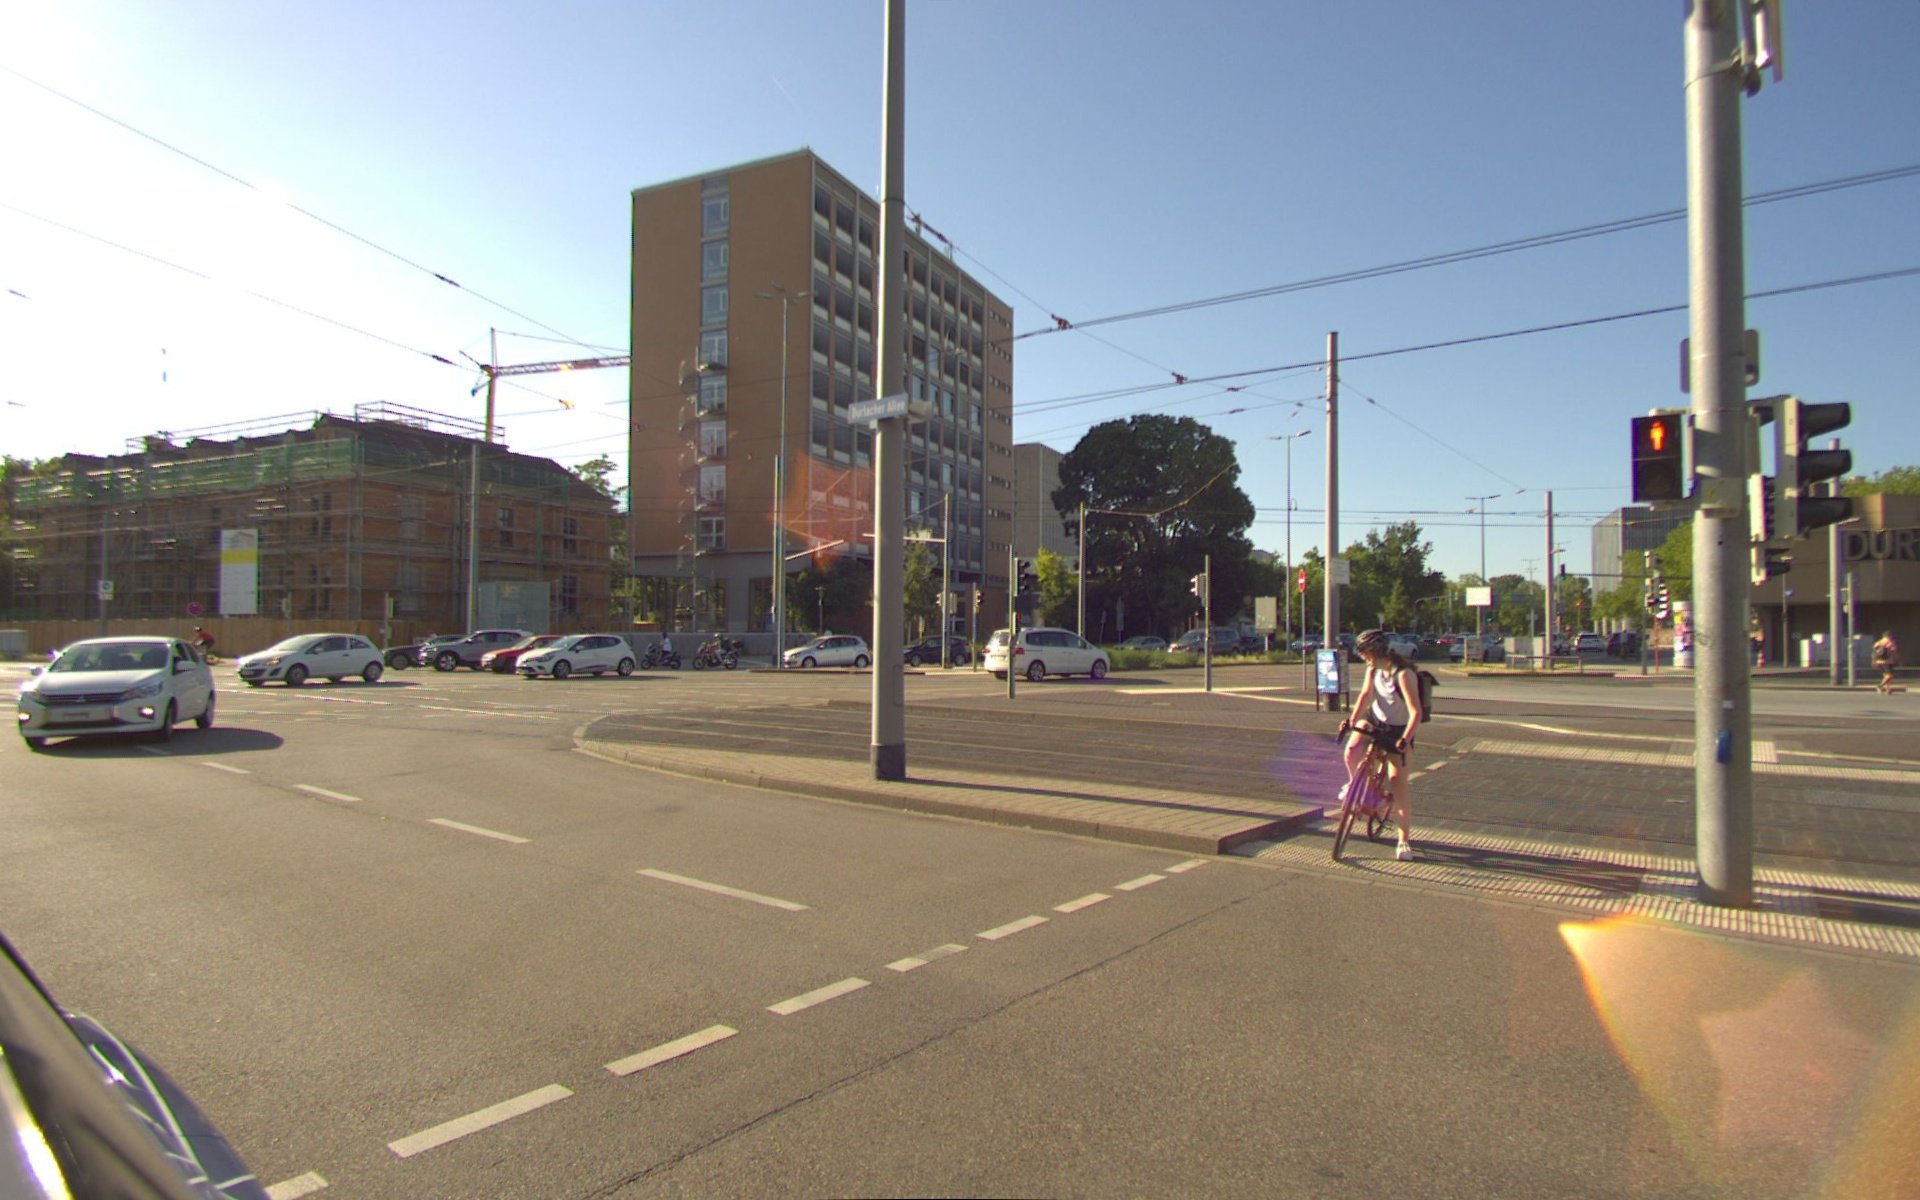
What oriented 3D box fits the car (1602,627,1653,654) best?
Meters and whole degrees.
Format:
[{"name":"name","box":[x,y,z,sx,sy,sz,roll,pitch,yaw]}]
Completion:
[{"name":"car","box":[43.251,2.642,65.570,3.977,1.643,1.866,2,-7,-44]}]

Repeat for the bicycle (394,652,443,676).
[{"name":"bicycle","box":[-24.667,2.916,46.138,1.848,0.977,0.714,2,0,-16]}]

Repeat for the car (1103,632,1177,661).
[{"name":"car","box":[11.578,2.997,64.927,4.630,1.697,2.004,2,-6,-37]}]

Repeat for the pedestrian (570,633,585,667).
[{"name":"pedestrian","box":[-19.956,2.622,52.806,0.612,1.752,0.667,1,-1,-10]}]

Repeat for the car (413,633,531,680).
[{"name":"car","box":[-19.110,2.155,39.664,3.933,1.618,2.005,0,0,-34]}]

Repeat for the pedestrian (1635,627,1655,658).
[{"name":"pedestrian","box":[39.694,2.480,58.634,0.803,1.782,0.962,-5,-5,35]}]

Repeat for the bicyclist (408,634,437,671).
[{"name":"bicyclist","box":[-24.526,2.391,46.159,0.999,1.599,0.696,2,0,-16]}]

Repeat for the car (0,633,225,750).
[{"name":"car","box":[-12.435,1.287,15.043,1.692,1.504,3.883,2,-4,-25]}]

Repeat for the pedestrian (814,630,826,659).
[{"name":"pedestrian","box":[-8.121,2.560,58.653,0.497,1.648,0.428,3,-6,-44]}]

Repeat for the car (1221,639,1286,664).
[{"name":"car","box":[21.005,3.675,72.420,4.630,1.697,2.004,2,-6,-37]}]

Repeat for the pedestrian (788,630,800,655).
[{"name":"pedestrian","box":[-11.190,2.860,68.223,0.497,1.648,0.574,3,-6,-44]}]

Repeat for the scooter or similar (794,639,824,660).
[{"name":"scooter or similar","box":[-9.517,3.135,63.748,1.802,1.257,0.800,-1,-4,-3]}]

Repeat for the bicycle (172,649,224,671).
[{"name":"bicycle","box":[-35.969,2.835,47.824,1.847,0.977,0.714,2,0,-29]}]

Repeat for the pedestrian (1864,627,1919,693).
[{"name":"pedestrian","box":[24.834,1.604,26.926,0.723,1.699,1.049,-3,-5,21]}]

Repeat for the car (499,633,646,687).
[{"name":"car","box":[-12.947,1.963,34.031,1.996,1.689,4.230,-1,-2,37]}]

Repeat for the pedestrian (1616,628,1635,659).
[{"name":"pedestrian","box":[38.938,2.538,59.173,0.803,1.782,0.952,-5,-5,35]}]

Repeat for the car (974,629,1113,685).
[{"name":"car","box":[2.803,1.857,33.513,4.390,1.747,1.946,2,-3,-36]}]

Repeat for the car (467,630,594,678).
[{"name":"car","box":[-16.111,2.052,38.126,1.998,1.697,3.946,-5,-6,40]}]

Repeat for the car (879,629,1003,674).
[{"name":"car","box":[-0.864,2.492,48.634,5.667,2.029,2.006,1,-5,-31]}]

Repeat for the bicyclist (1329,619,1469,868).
[{"name":"bicyclist","box":[3.117,0.964,7.185,0.813,1.629,0.668,-1,-3,34]}]

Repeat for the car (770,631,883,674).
[{"name":"car","box":[-5.557,2.149,42.136,4.210,1.689,2.006,1,-2,-31]}]

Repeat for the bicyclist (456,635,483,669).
[{"name":"bicyclist","box":[-24.393,2.596,50.387,1.001,1.599,0.695,2,0,-9]}]

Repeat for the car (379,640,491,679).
[{"name":"car","box":[-21.845,2.436,42.122,3.952,1.475,1.761,0,-2,-34]}]

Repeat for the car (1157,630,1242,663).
[{"name":"car","box":[12.906,2.455,54.408,4.542,1.701,2.005,2,-2,-36]}]

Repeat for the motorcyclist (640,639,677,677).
[{"name":"motorcyclist","box":[-14.029,2.697,47.025,1.429,1.680,1.121,1,-5,-31]}]

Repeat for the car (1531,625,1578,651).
[{"name":"car","box":[40.197,2.591,68.406,3.813,1.643,1.723,2,-5,-45]}]

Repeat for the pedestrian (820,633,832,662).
[{"name":"pedestrian","box":[-8.302,2.935,62.665,0.614,1.725,0.487,0,-5,-17]}]

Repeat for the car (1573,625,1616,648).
[{"name":"car","box":[48.530,2.743,77.355,3.812,1.642,1.861,2,0,-43]}]

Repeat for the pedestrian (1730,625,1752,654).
[{"name":"pedestrian","box":[43.324,2.214,56.156,0.802,1.580,1.166,-4,-5,35]}]

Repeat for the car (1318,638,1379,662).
[{"name":"car","box":[28.908,3.707,75.271,4.630,1.697,2.004,2,-6,-37]}]

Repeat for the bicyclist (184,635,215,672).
[{"name":"bicyclist","box":[-35.937,2.536,47.846,0.999,1.721,0.696,2,0,-28]}]

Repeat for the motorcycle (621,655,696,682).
[{"name":"motorcycle","box":[-13.994,3.170,46.981,3.177,1.204,1.121,1,-5,-31]}]

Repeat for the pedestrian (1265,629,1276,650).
[{"name":"pedestrian","box":[25.816,3.273,84.081,0.583,1.674,0.567,2,-6,-37]}]

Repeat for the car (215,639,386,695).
[{"name":"car","box":[-19.066,1.887,29.452,1.771,1.475,3.889,0,-2,20]}]

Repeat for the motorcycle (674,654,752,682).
[{"name":"motorcycle","box":[-11.078,3.052,45.440,3.177,1.204,1.121,1,-5,-31]}]

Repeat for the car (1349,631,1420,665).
[{"name":"car","box":[23.219,2.616,55.280,4.553,1.760,1.943,2,-3,-44]}]

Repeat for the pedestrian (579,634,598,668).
[{"name":"pedestrian","box":[-19.629,2.683,53.454,0.721,1.752,0.623,2,-2,-41]}]

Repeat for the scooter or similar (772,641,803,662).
[{"name":"scooter or similar","box":[-10.694,3.210,62.674,1.689,1.257,0.797,-2,-5,11]}]

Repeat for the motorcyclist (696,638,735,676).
[{"name":"motorcyclist","box":[-11.023,2.566,45.535,1.429,1.680,1.121,1,-5,-31]}]

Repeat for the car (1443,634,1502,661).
[{"name":"car","box":[28.556,2.596,56.333,1.847,1.434,4.370,-2,-3,42]}]

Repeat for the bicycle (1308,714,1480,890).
[{"name":"bicycle","box":[3.127,1.344,7.185,0.813,0.949,1.873,-1,-3,33]}]

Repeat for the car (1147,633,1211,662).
[{"name":"car","box":[13.662,2.928,63.106,3.935,1.741,1.827,2,-3,-38]}]
